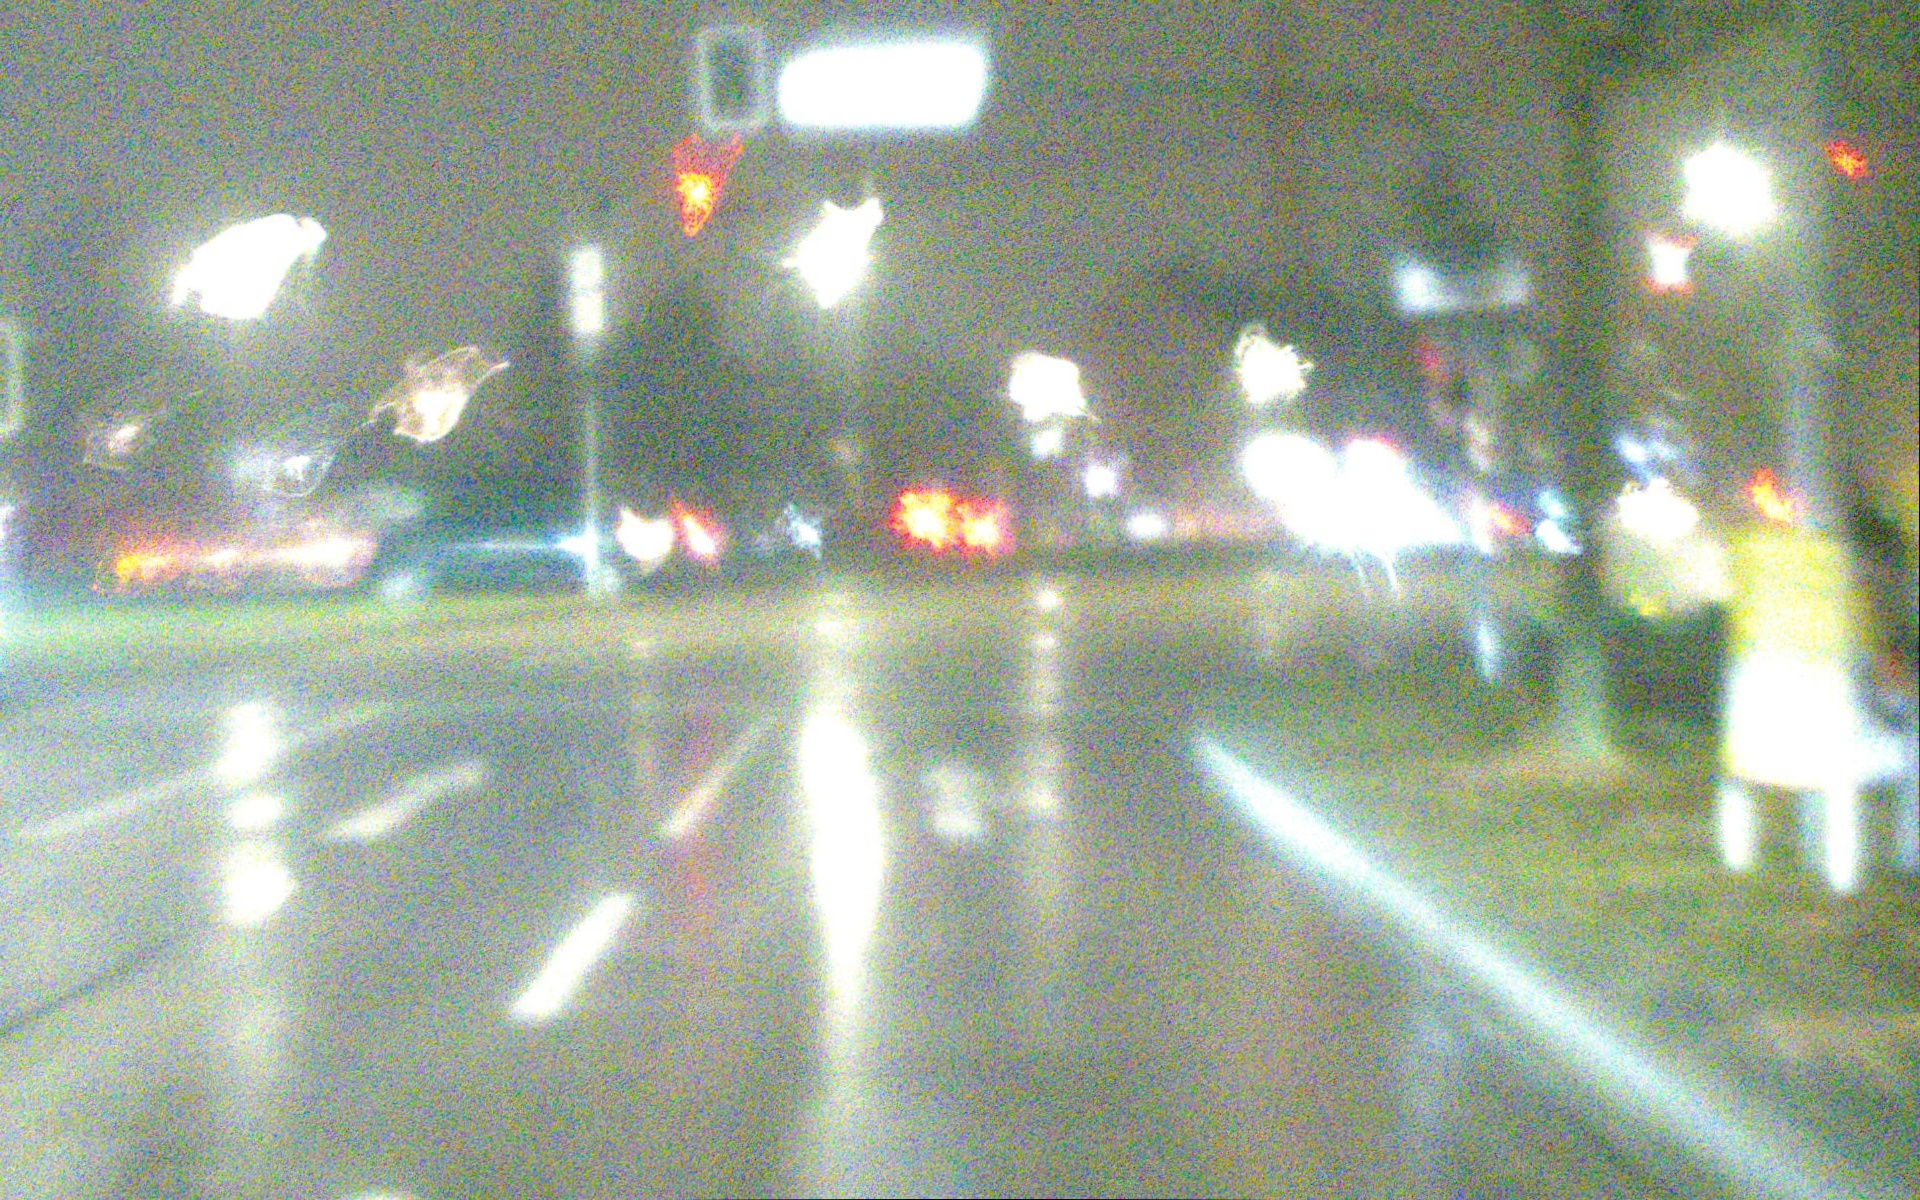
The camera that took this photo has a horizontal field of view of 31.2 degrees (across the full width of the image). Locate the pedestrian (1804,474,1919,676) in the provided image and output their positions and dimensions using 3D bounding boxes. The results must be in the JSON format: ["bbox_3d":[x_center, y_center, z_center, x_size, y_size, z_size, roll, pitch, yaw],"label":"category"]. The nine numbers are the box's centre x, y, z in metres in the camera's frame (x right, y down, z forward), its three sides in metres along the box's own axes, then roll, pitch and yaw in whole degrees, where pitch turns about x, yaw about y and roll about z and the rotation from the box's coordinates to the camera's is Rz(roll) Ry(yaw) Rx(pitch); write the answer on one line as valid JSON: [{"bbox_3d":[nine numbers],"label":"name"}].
[{"bbox_3d":[6.760,-0.194,25.614,0.726,1.480,0.836,0,1,-1],"label":"pedestrian"}]

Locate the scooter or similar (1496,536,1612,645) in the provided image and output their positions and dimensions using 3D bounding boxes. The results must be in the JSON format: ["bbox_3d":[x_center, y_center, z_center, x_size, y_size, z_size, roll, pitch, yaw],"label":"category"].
[{"bbox_3d":[6.118,-0.094,35.399,1.102,1.094,0.317,-2,0,28],"label":"scooter or similar"}]

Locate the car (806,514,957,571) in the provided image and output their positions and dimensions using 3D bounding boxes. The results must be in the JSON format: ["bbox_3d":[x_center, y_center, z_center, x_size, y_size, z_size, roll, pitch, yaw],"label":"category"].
[{"bbox_3d":[-2.290,-1.685,99.874,3.992,1.610,1.834,1,1,25],"label":"car"}]

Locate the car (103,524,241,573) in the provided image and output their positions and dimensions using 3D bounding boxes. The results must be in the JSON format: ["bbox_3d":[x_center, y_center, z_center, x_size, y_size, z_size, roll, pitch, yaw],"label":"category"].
[{"bbox_3d":[-24.083,-1.587,105.138,3.986,1.481,1.770,0,1,-9],"label":"car"}]

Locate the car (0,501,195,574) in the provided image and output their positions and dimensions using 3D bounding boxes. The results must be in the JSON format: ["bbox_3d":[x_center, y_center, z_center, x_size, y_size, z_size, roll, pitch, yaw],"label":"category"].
[{"bbox_3d":[-25.648,-1.838,99.886,6.292,2.082,2.516,-1,1,-25],"label":"car"}]

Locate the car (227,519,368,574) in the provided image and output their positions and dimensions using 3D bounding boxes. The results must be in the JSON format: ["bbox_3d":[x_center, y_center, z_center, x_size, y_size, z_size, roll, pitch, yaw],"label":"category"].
[{"bbox_3d":[-19.620,-1.603,101.869,3.986,1.610,1.837,0,1,-7],"label":"car"}]

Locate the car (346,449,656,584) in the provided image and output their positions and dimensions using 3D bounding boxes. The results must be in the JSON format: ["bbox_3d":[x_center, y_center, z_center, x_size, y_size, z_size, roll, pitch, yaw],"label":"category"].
[{"bbox_3d":[-6.921,-1.277,52.284,4.542,2.007,2.000,0,1,-4],"label":"car"}]
